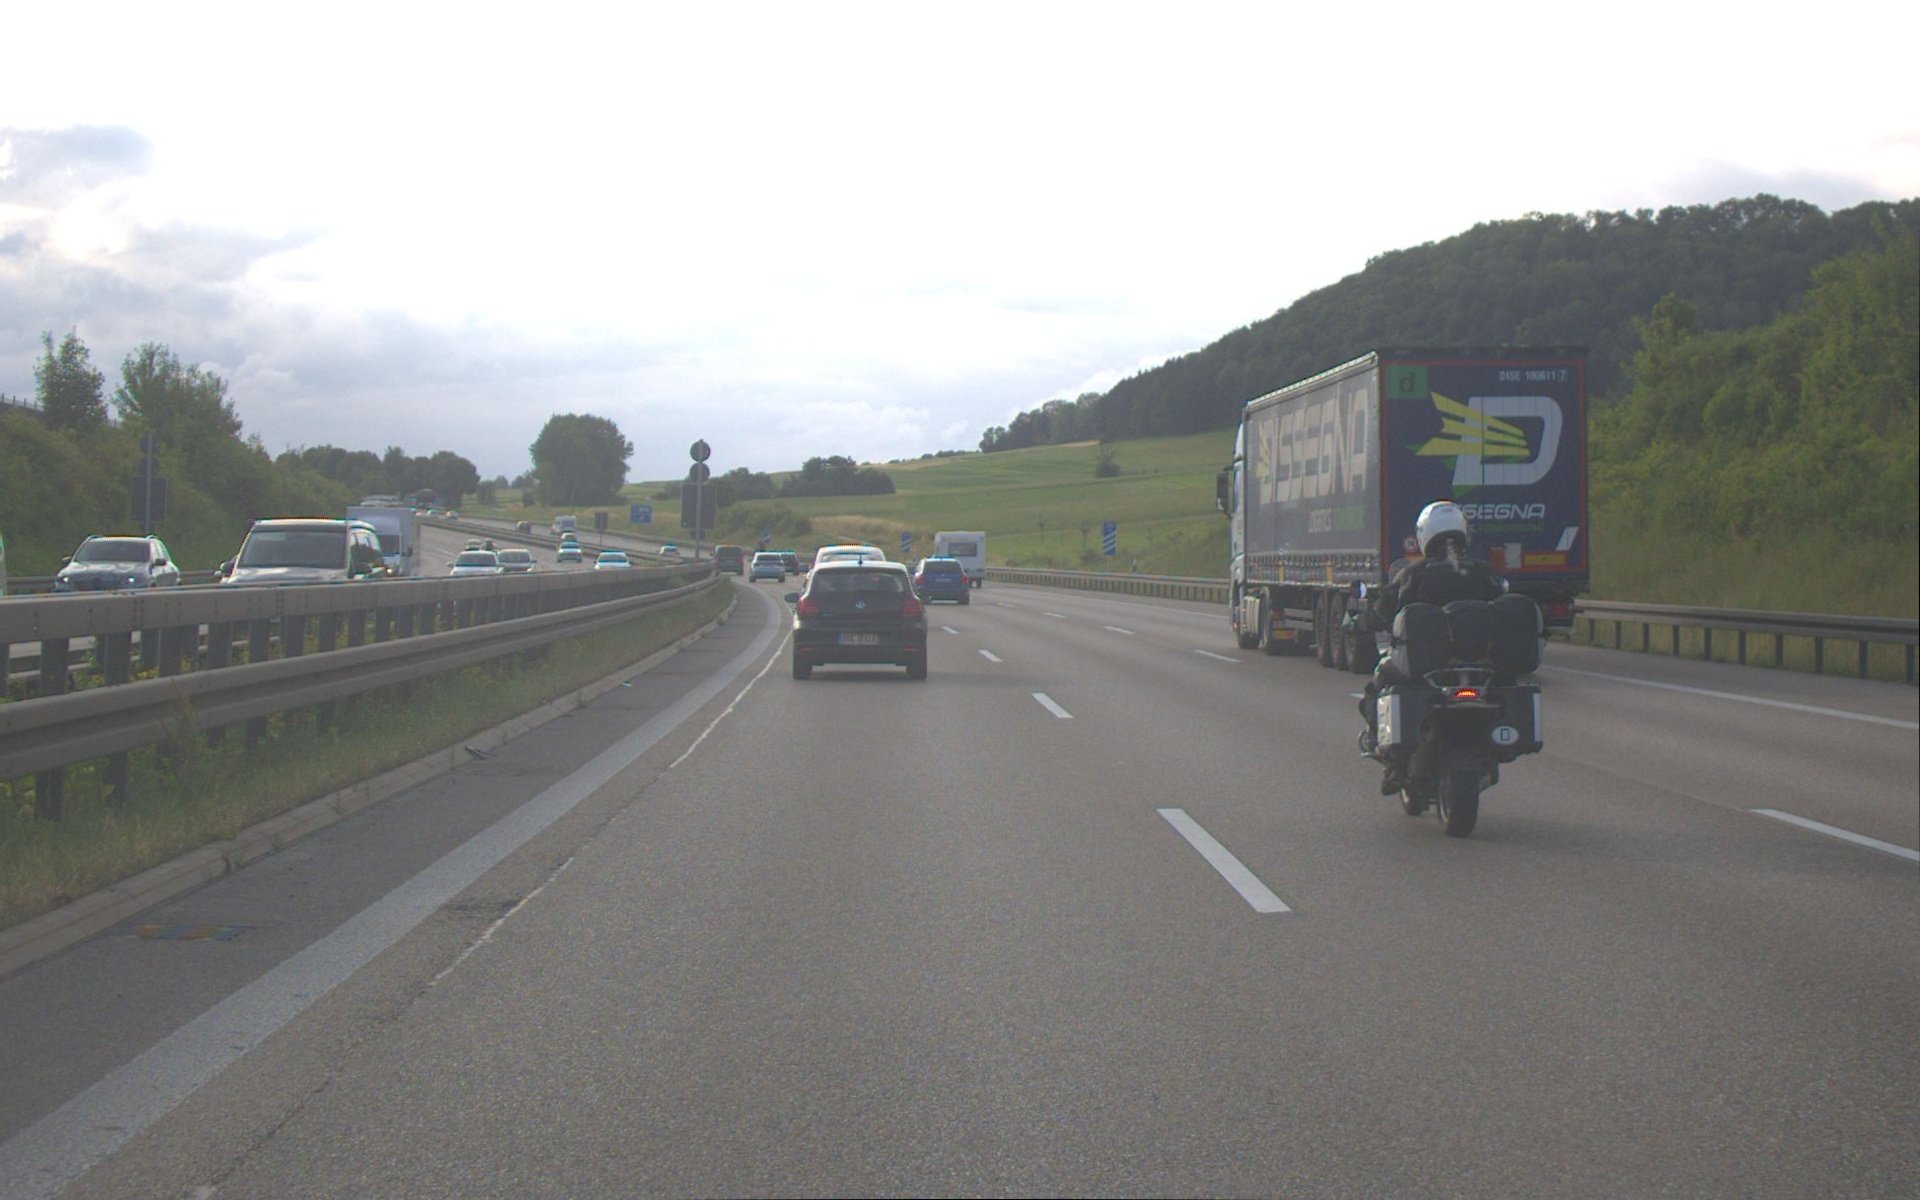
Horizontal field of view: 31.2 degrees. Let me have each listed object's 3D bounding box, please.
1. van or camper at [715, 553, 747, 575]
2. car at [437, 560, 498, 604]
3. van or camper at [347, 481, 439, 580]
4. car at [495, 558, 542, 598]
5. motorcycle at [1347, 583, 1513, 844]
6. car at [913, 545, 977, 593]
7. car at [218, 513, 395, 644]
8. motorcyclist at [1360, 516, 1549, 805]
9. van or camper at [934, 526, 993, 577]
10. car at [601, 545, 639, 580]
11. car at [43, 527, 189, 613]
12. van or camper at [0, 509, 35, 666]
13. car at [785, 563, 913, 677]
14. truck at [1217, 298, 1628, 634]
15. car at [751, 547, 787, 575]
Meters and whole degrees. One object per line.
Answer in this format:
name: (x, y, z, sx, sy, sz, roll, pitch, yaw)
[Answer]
van or camper: (-14.726, -2.317, 221.236, 1.966, 1.428, 4.001, 1, 1, -5)
car: (-16.440, -0.611, 114.853, 1.643, 1.431, 4.345, 0, 1, -3)
van or camper: (-20.983, -2.550, 127.619, 2.481, 3.539, 7.978, 0, 1, -3)
car: (-18.650, -0.948, 145.449, 1.643, 1.650, 4.345, 0, 1, -3)
motorcycle: (2.534, 0.584, 18.700, 0.627, 1.334, 1.739, 1, 0, -1)
car: (-0.487, -0.974, 106.816, 1.766, 1.428, 4.001, 1, 1, -3)
car: (-9.831, -0.345, 52.023, 1.929, 1.885, 4.345, 0, 1, -1)
motorcyclist: (2.648, 0.313, 18.487, 0.876, 1.510, 0.797, 1, 0, -1)
van or camper: (0.145, -2.205, 155.807, 2.548, 2.231, 5.329, 0, 1, -1)
car: (-16.476, -1.825, 166.661, 1.643, 1.650, 4.345, 0, 1, -3)
car: (-17.530, -0.645, 71.614, 1.929, 1.716, 4.879, 0, 1, -1)
van or camper: (-12.704, -0.145, 41.250, 1.848, 1.933, 5.401, 0, 1, -1)
car: (-1.373, 0.219, 43.257, 1.538, 1.343, 3.677, 0, 1, -1)
truck: (6.156, -1.728, 49.714, 2.964, 3.978, 17.734, 0, 1, -2)
car: (-9.907, -2.036, 178.135, 1.766, 1.428, 4.001, 0, 1, -5)
